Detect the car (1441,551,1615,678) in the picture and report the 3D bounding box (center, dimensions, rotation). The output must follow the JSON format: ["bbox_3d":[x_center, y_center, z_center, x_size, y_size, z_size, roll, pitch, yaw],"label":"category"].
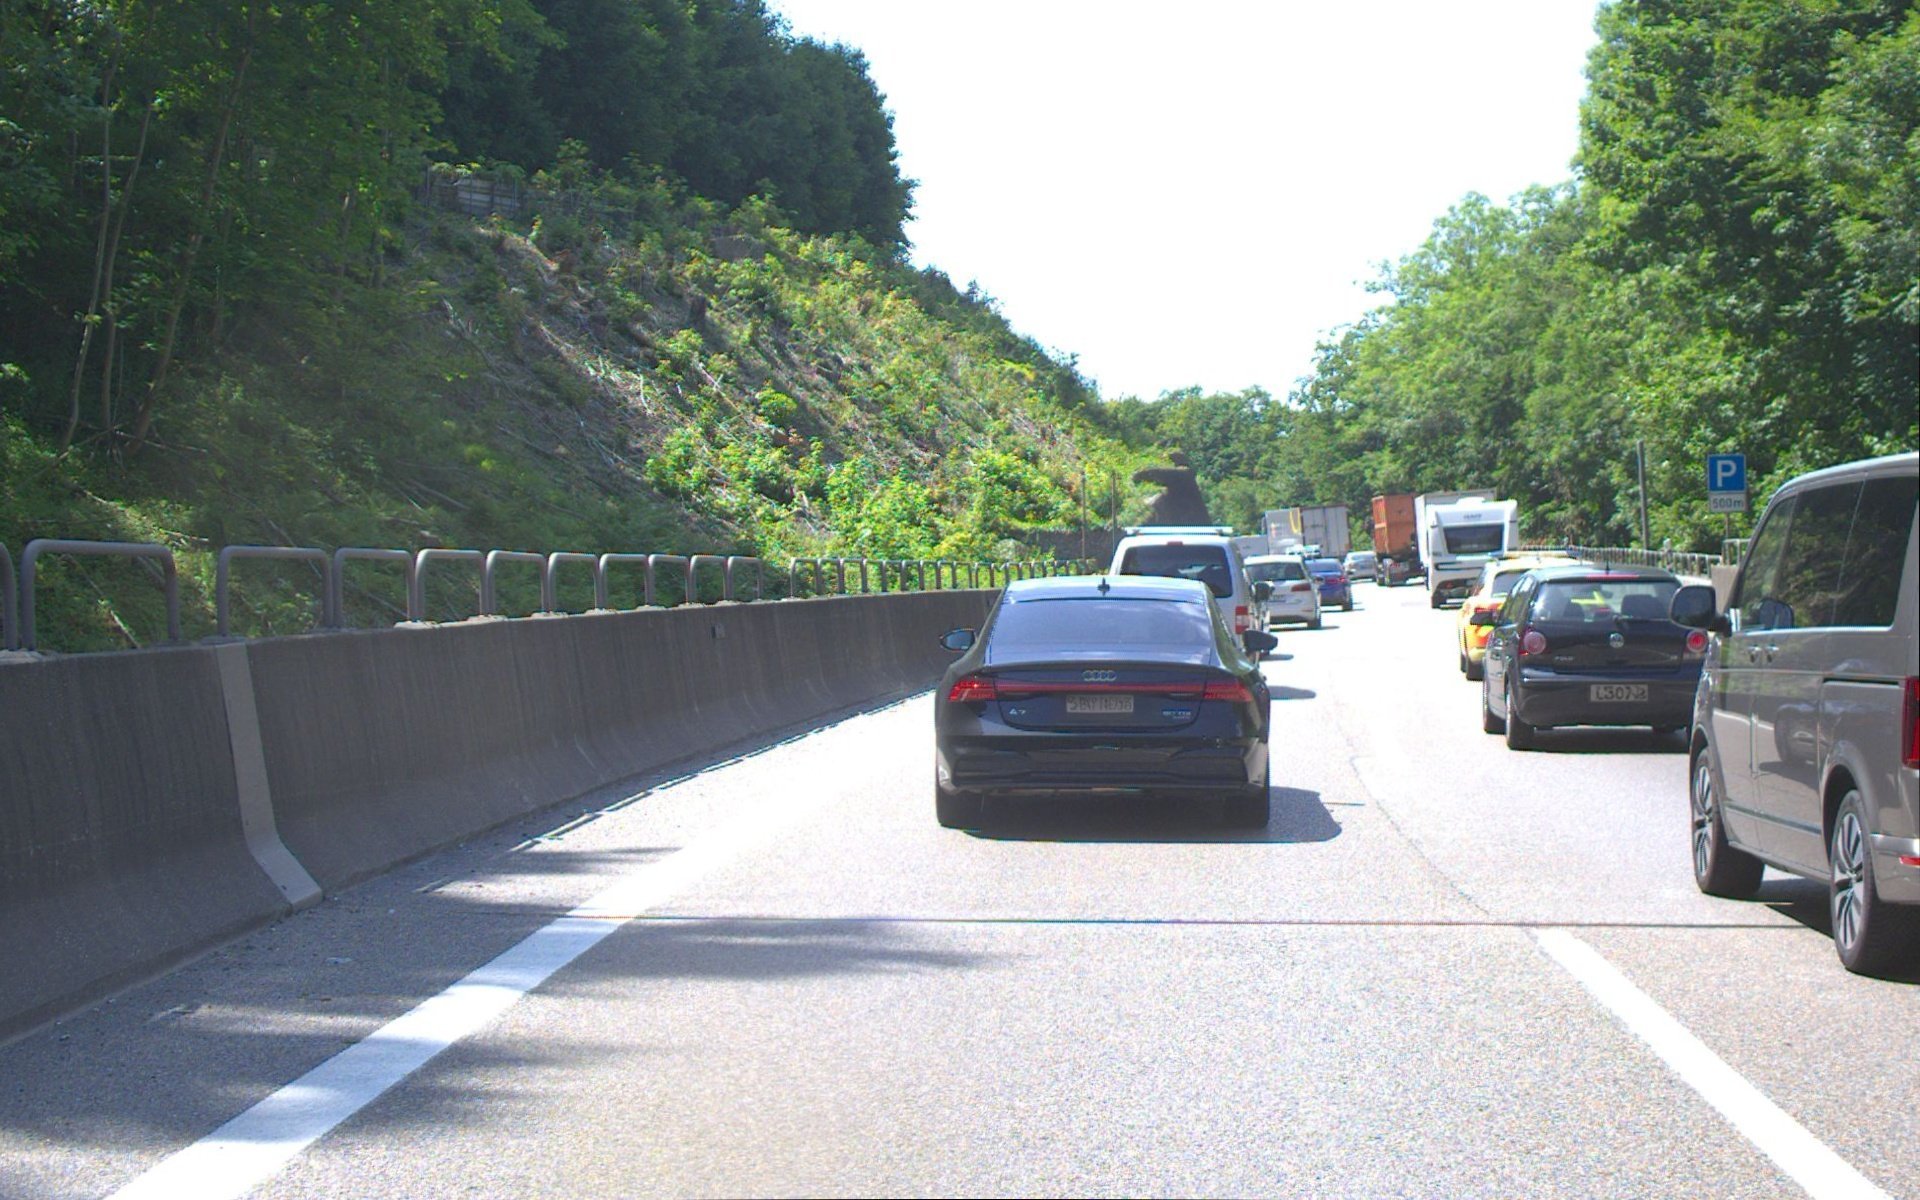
[{"bbox_3d":[6.911,0.140,42.144,1.808,1.473,4.081,0,1,5],"label":"car"}]

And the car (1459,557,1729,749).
[{"bbox_3d":[5.116,0.376,28.178,1.685,1.453,4.000,0,1,3],"label":"car"}]

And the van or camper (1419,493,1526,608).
[{"bbox_3d":[13.102,-1.261,88.126,2.604,2.845,6.334,0,1,8],"label":"van or camper"}]

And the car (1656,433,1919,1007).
[{"bbox_3d":[4.173,0.368,13.840,1.941,1.924,4.694,0,1,2],"label":"car"}]

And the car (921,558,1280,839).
[{"bbox_3d":[0.801,0.499,20.484,1.905,1.484,4.379,0,1,1],"label":"car"}]

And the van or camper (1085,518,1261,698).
[{"bbox_3d":[2.473,0.057,39.154,1.854,1.935,4.164,0,1,5],"label":"van or camper"}]

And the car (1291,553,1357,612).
[{"bbox_3d":[9.988,-0.494,94.167,1.751,1.565,3.770,0,1,6],"label":"car"}]

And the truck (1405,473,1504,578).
[{"bbox_3d":[17.839,-2.655,124.399,2.925,3.674,7.723,0,1,4],"label":"truck"}]

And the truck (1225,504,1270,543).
[{"bbox_3d":[14.831,-3.940,177.773,1.993,2.007,4.000,0,1,0],"label":"truck"}]

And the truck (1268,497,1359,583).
[{"bbox_3d":[18.983,-3.219,185.021,3.710,4.488,7.725,0,1,-3],"label":"truck"}]

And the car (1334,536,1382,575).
[{"bbox_3d":[19.234,-2.141,166.231,1.993,1.853,4.000,0,1,2],"label":"car"}]

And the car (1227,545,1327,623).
[{"bbox_3d":[6.560,-0.348,71.463,1.895,1.579,3.771,0,1,3],"label":"car"}]

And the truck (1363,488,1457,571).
[{"bbox_3d":[19.075,-2.968,146.139,3.163,3.456,8.221,0,1,2],"label":"truck"}]
